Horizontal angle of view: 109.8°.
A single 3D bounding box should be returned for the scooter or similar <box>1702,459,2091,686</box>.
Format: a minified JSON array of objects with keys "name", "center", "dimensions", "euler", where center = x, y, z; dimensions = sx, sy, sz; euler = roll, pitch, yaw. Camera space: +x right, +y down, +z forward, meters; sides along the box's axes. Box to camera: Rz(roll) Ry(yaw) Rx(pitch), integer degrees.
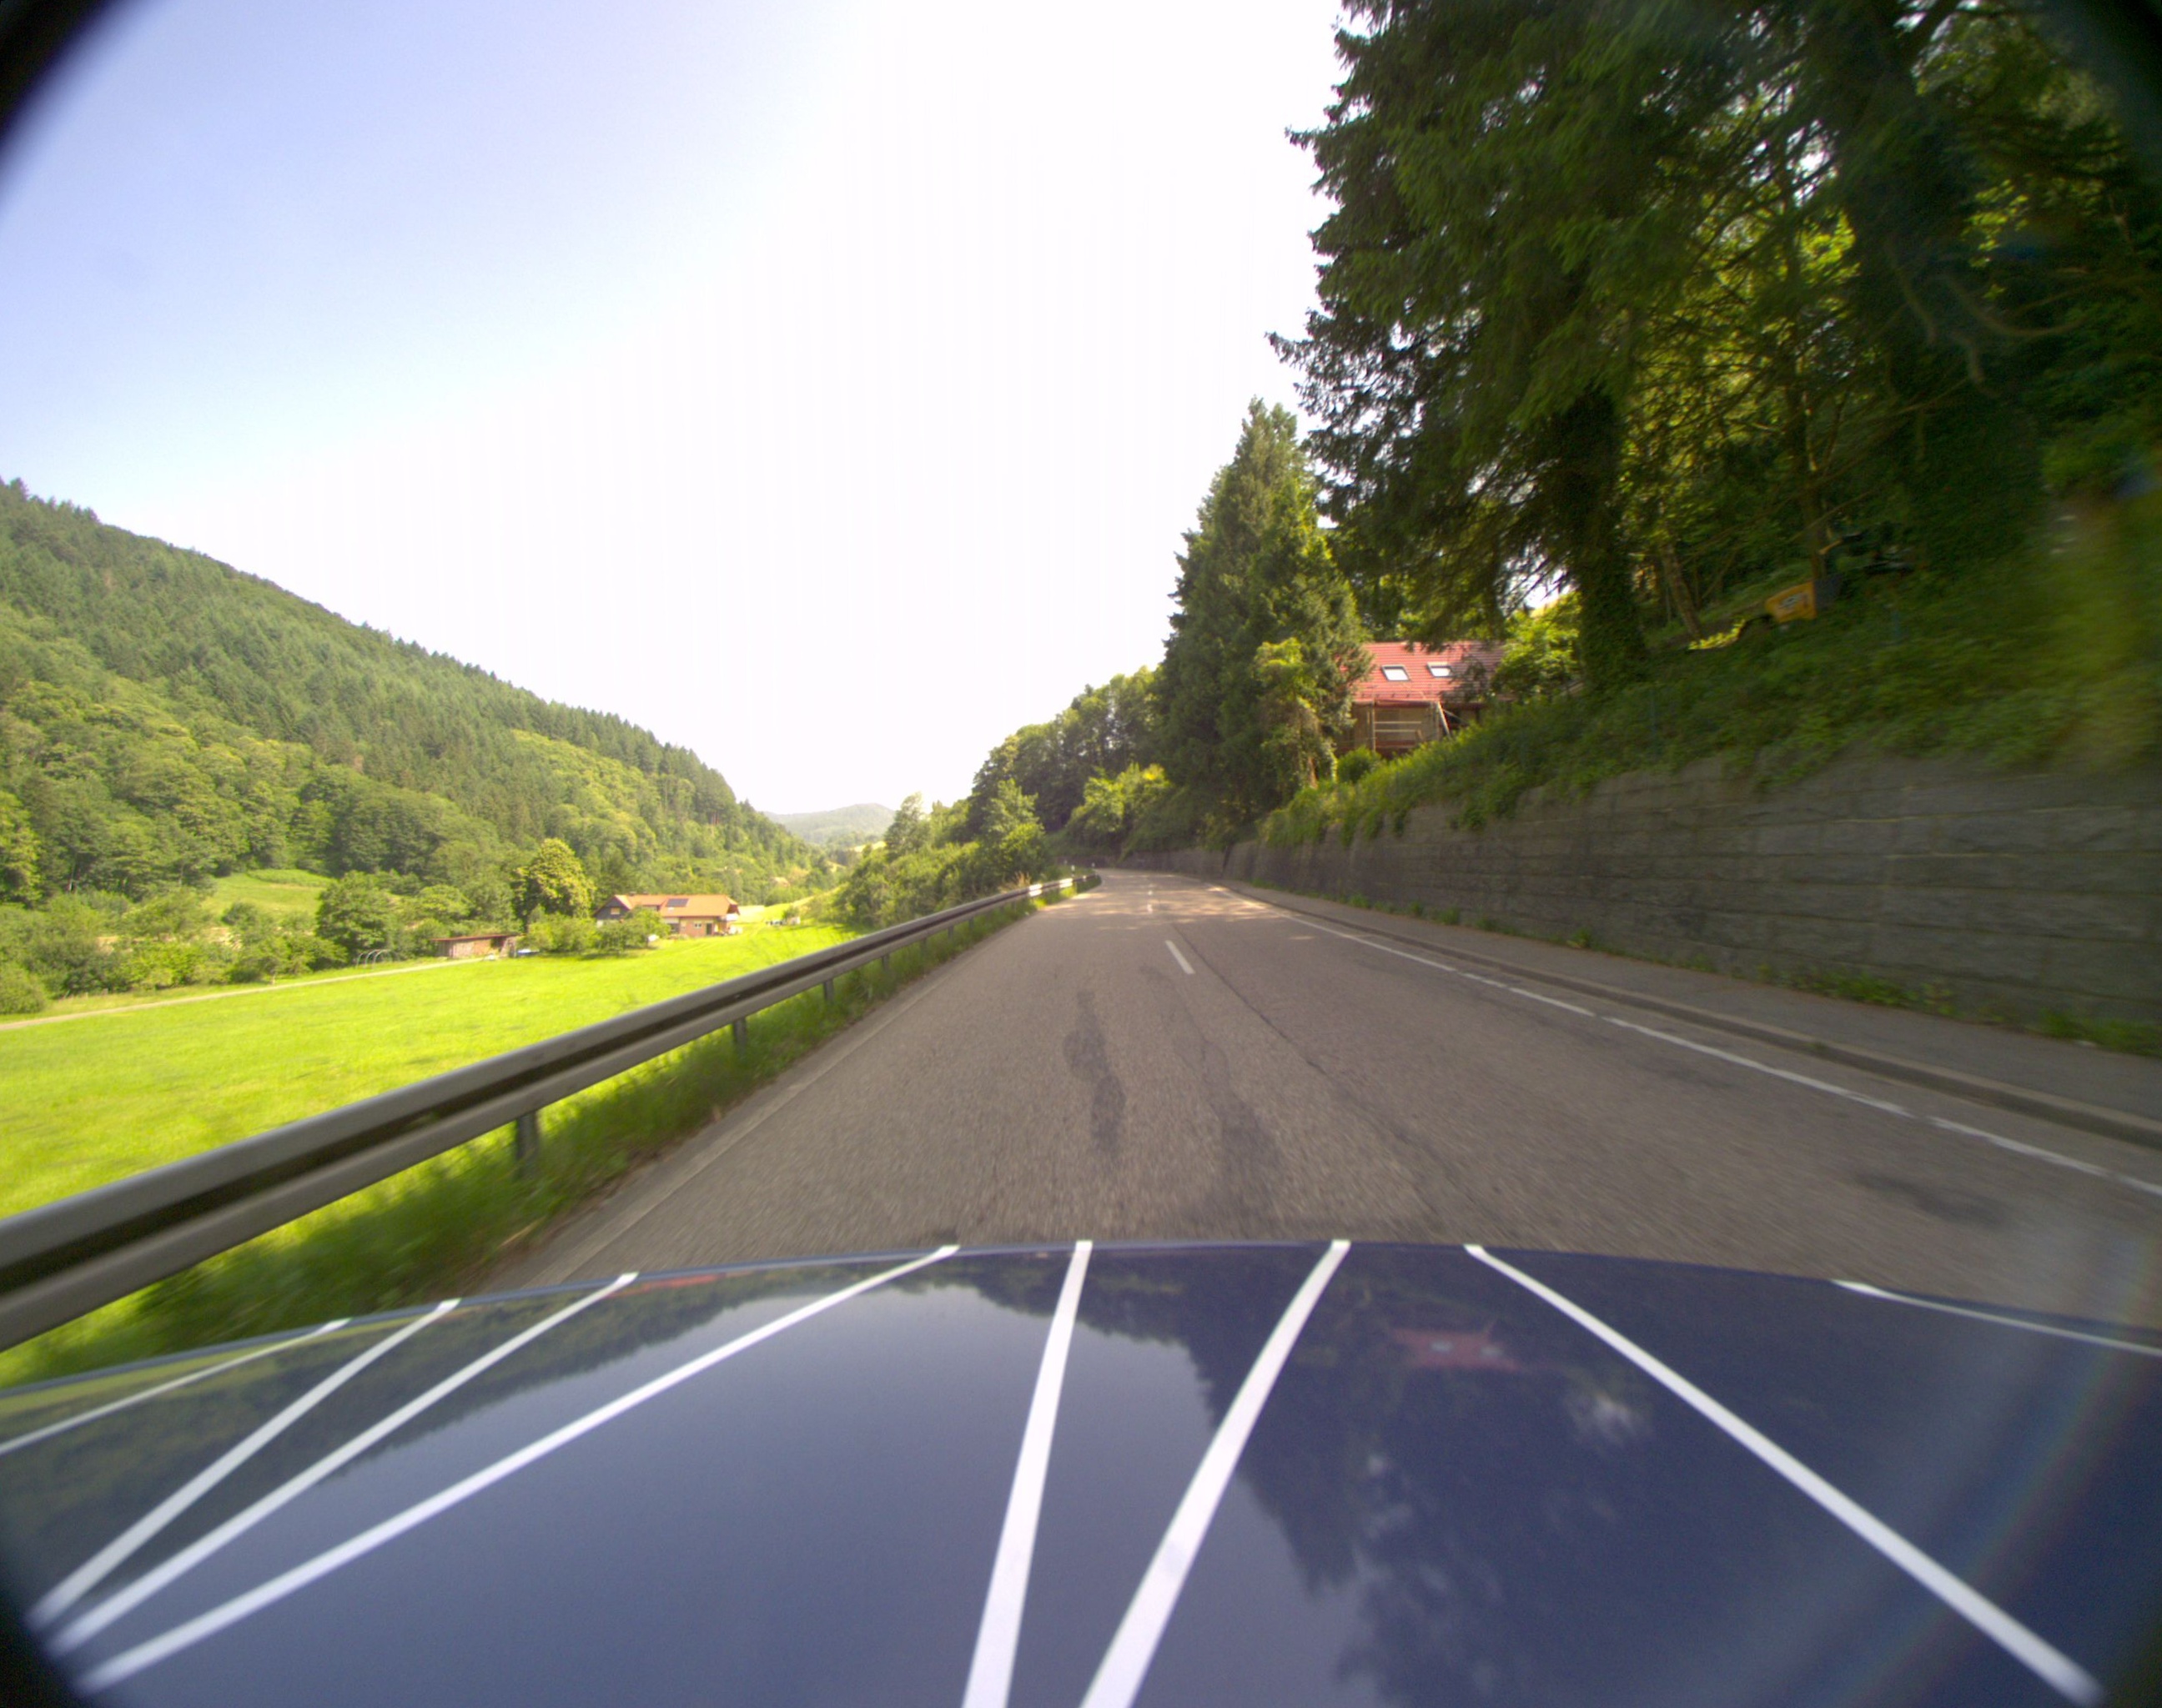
[{"name":"scooter or similar","center":[13.317,-4.452,12.945],"dimensions":[1.982,2.015,4.406],"euler":[-6,0,5]}]
